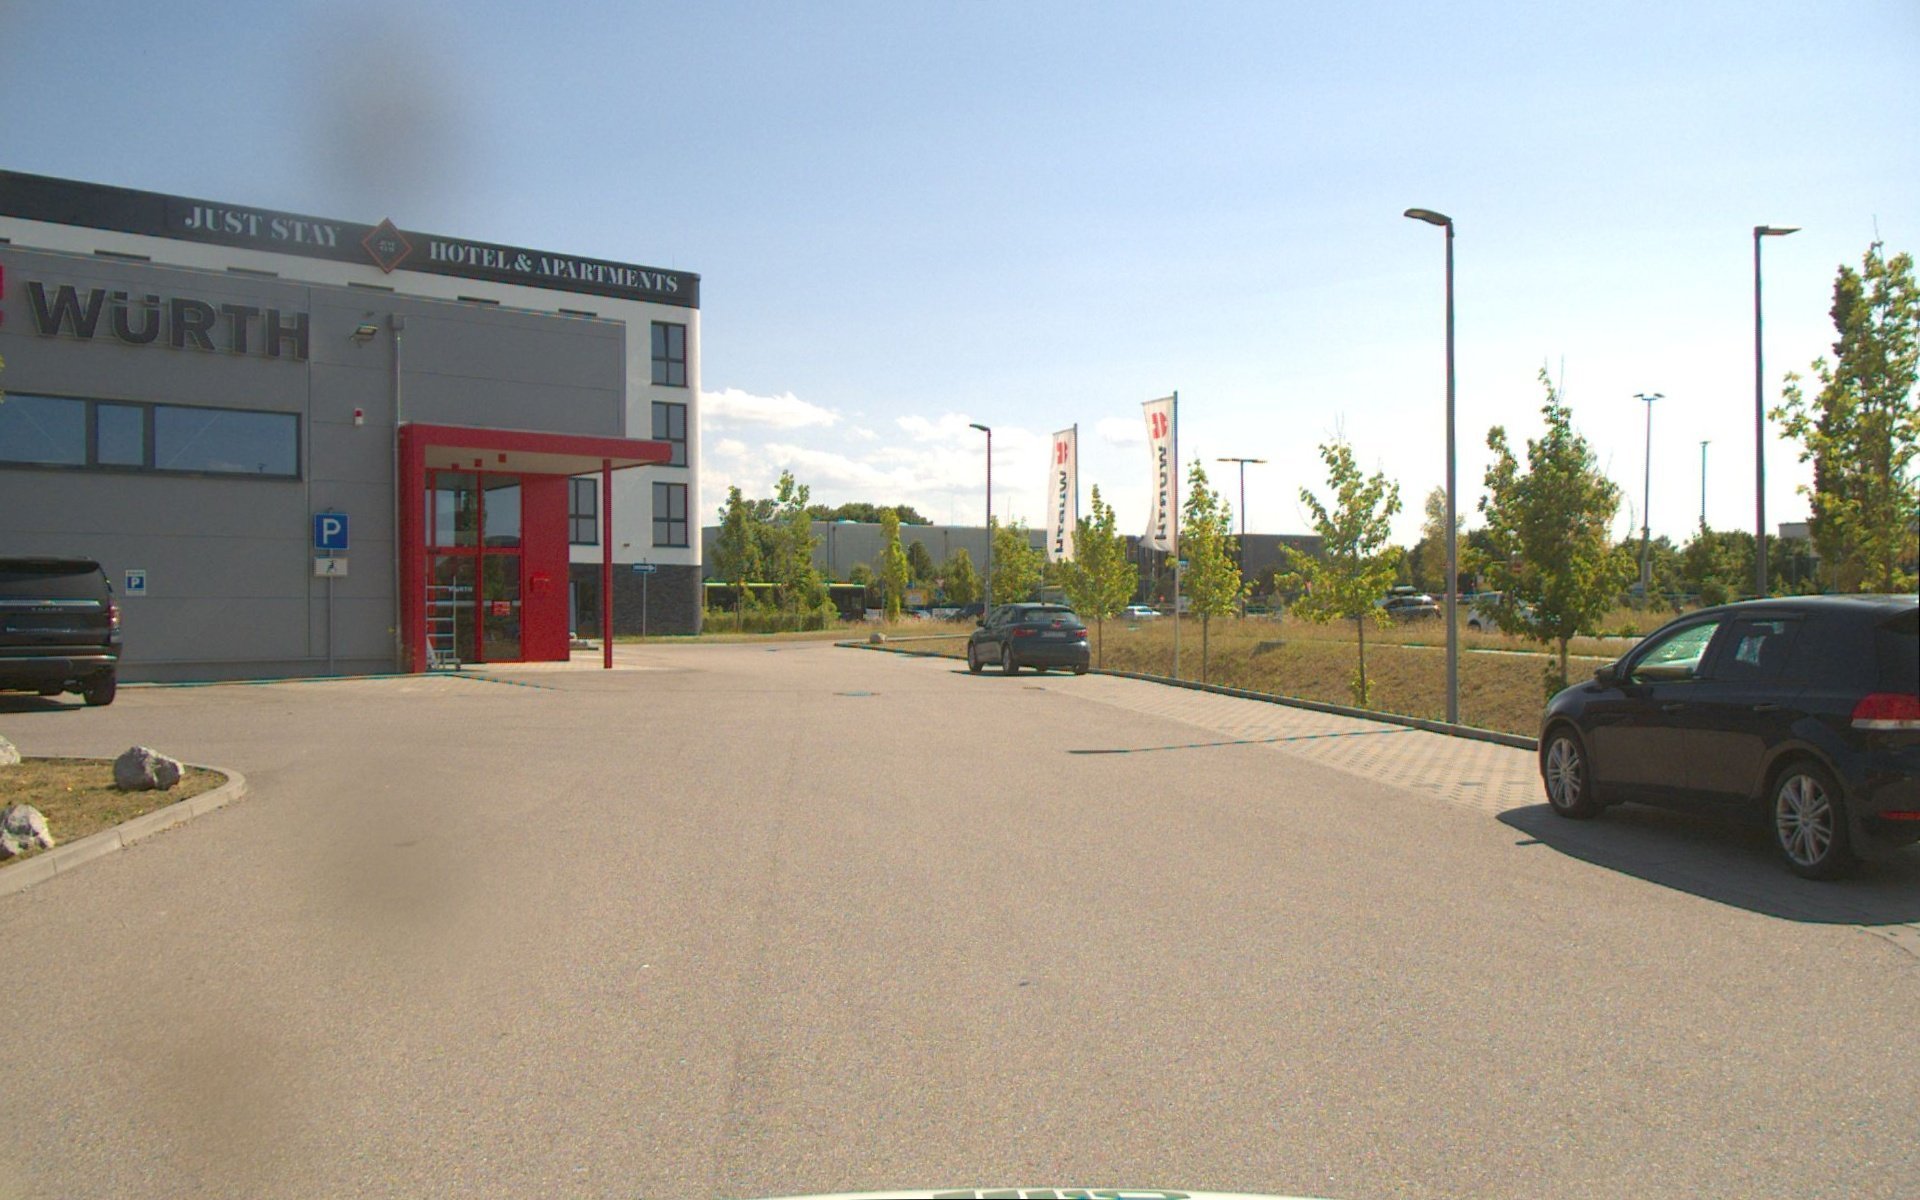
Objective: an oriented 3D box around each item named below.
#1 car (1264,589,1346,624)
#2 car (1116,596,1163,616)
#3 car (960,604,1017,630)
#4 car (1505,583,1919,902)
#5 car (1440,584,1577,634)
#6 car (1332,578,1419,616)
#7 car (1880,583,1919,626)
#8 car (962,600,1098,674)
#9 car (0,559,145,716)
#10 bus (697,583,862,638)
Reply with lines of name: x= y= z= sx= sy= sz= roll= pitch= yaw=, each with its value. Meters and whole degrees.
car: x=16.454 y=0.307 z=78.883 sx=3.616 sy=1.625 sz=1.698 roll=0 pitch=0 yaw=-30
car: x=15.687 y=0.491 z=144.831 sx=3.917 sy=1.687 sz=1.881 roll=0 pitch=1 yaw=-38
car: x=1.631 y=0.982 z=96.058 sx=1.633 sy=1.410 sz=3.470 roll=0 pitch=1 yaw=-34
car: x=5.203 y=0.677 z=10.178 sx=1.802 sy=1.502 sz=4.111 roll=-2 pitch=0 yaw=-9
car: x=17.294 y=0.239 z=52.270 sx=1.851 sy=1.509 sz=3.963 roll=0 pitch=1 yaw=-28
car: x=18.402 y=-0.154 z=73.232 sx=3.616 sy=1.625 sz=1.698 roll=0 pitch=0 yaw=-30
car: x=37.460 y=0.156 z=63.364 sx=3.592 sy=1.646 sz=1.836 roll=0 pitch=0 yaw=-11
car: x=1.372 y=0.727 z=34.121 sx=1.671 sy=1.431 sz=3.879 roll=0 pitch=0 yaw=-16
car: x=-12.785 y=0.436 z=22.314 sx=2.059 sy=1.913 sz=4.806 roll=0 pitch=1 yaw=-41
bus: x=-12.280 y=0.634 z=113.009 sx=11.083 sy=3.619 sz=2.552 roll=0 pitch=0 yaw=-28
